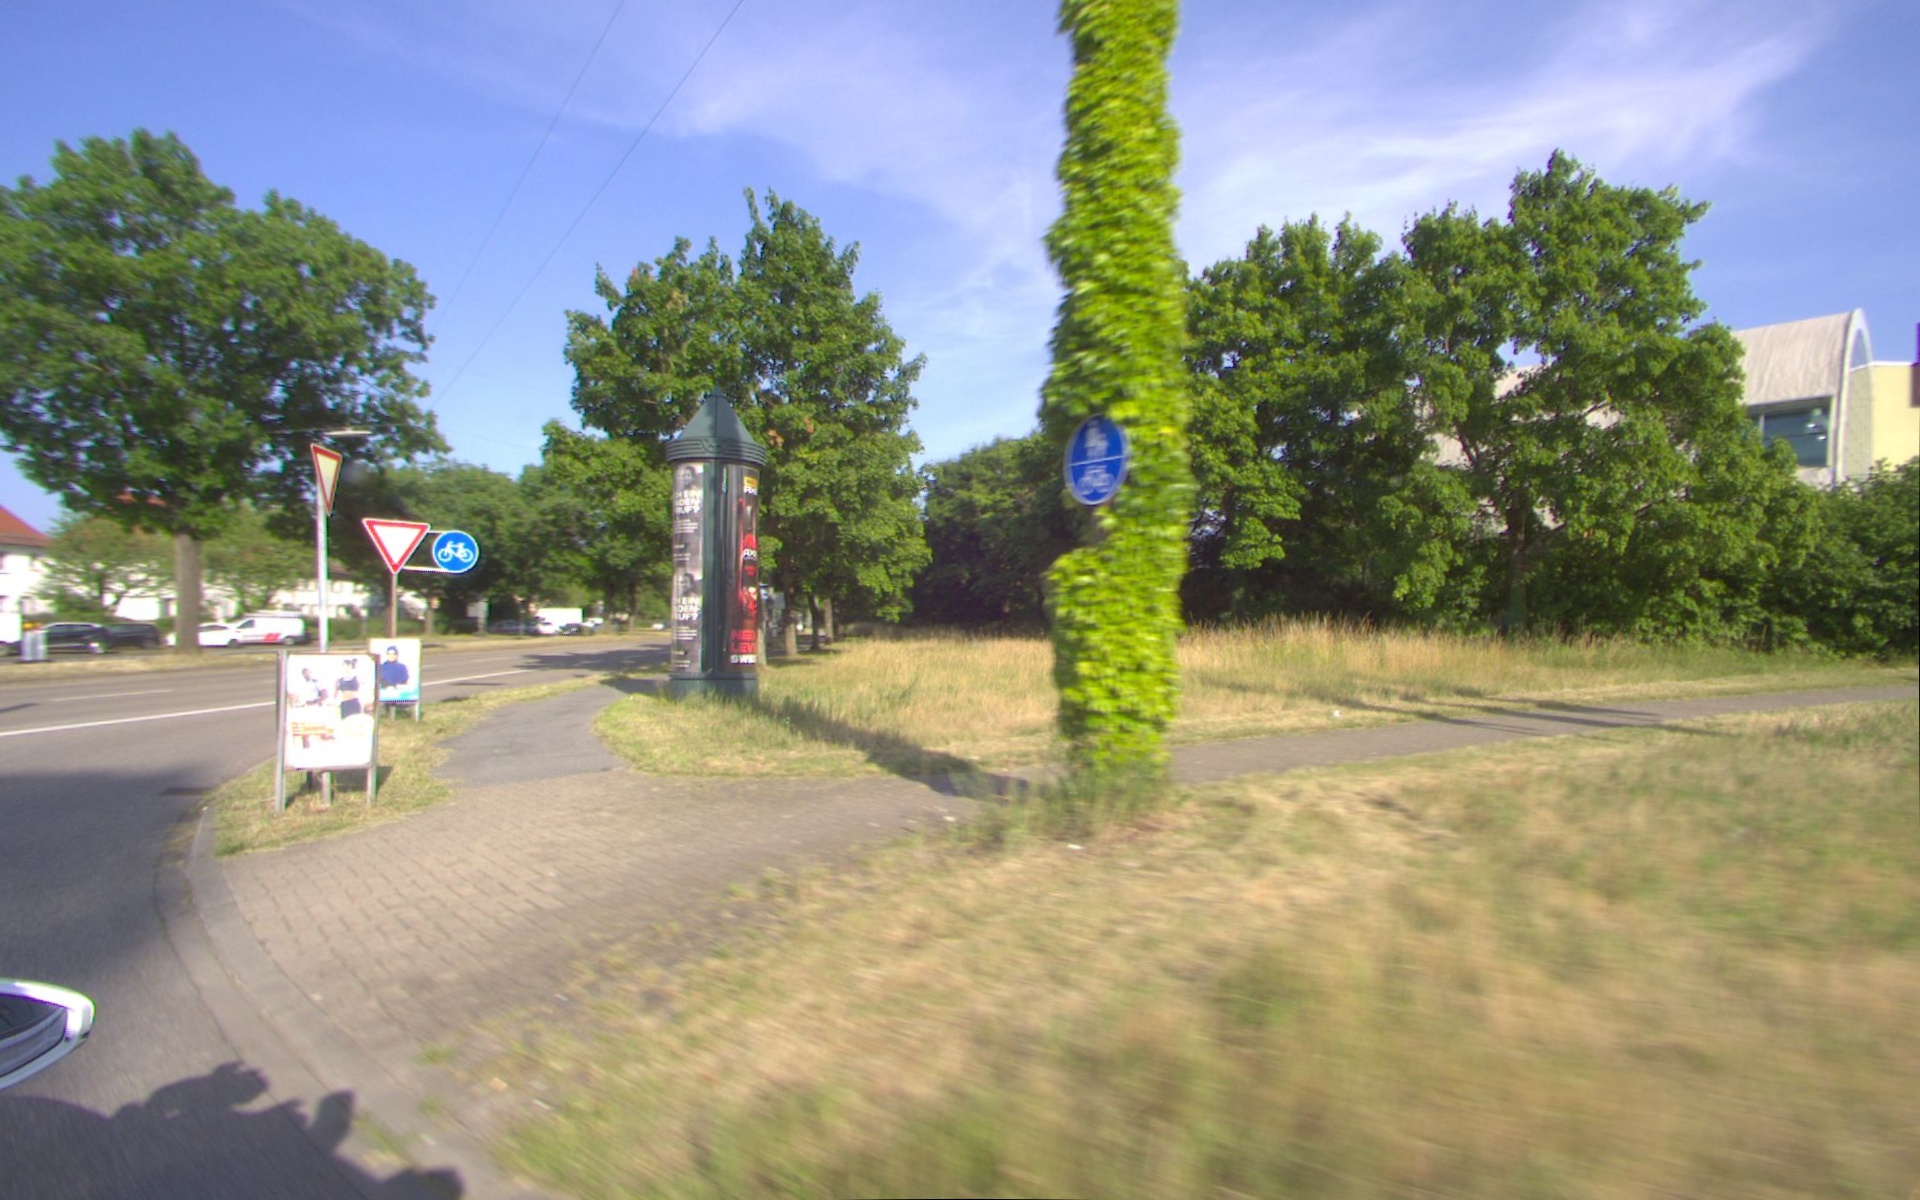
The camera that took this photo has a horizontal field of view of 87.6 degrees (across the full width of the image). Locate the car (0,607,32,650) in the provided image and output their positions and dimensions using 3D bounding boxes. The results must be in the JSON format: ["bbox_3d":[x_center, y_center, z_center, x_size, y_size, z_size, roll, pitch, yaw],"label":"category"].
[{"bbox_3d":[-44.784,1.298,45.334,1.874,1.945,3.879,-1,-1,40],"label":"car"}]

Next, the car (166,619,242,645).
[{"bbox_3d":[-44.934,1.889,59.523,1.876,1.533,3.402,-1,-1,44],"label":"car"}]

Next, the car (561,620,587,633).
[{"bbox_3d":[-40.827,2.780,105.942,1.683,1.371,3.999,0,-1,-7],"label":"car"}]

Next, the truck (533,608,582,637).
[{"bbox_3d":[-50.061,2.751,124.559,1.974,3.509,5.470,0,-1,36],"label":"truck"}]

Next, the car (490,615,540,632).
[{"bbox_3d":[-48.251,2.534,108.640,1.978,1.745,4.502,-1,-1,43],"label":"car"}]

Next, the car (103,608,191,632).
[{"bbox_3d":[-61.393,1.512,75.707,4.883,1.741,2.000,0,-1,-4],"label":"car"}]

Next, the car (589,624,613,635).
[{"bbox_3d":[-48.890,4.052,136.457,1.880,1.468,4.282,-1,-3,-4],"label":"car"}]

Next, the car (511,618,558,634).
[{"bbox_3d":[-48.347,2.968,113.858,1.978,1.745,4.502,-1,-1,43],"label":"car"}]

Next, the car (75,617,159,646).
[{"bbox_3d":[-46.066,1.705,54.745,1.876,1.533,3.402,-1,-1,44],"label":"car"}]

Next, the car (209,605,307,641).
[{"bbox_3d":[-45.739,1.499,65.346,1.977,2.261,4.941,-1,-1,40],"label":"car"}]

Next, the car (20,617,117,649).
[{"bbox_3d":[-44.027,1.617,49.486,1.876,1.533,3.468,-1,-1,44],"label":"car"}]
